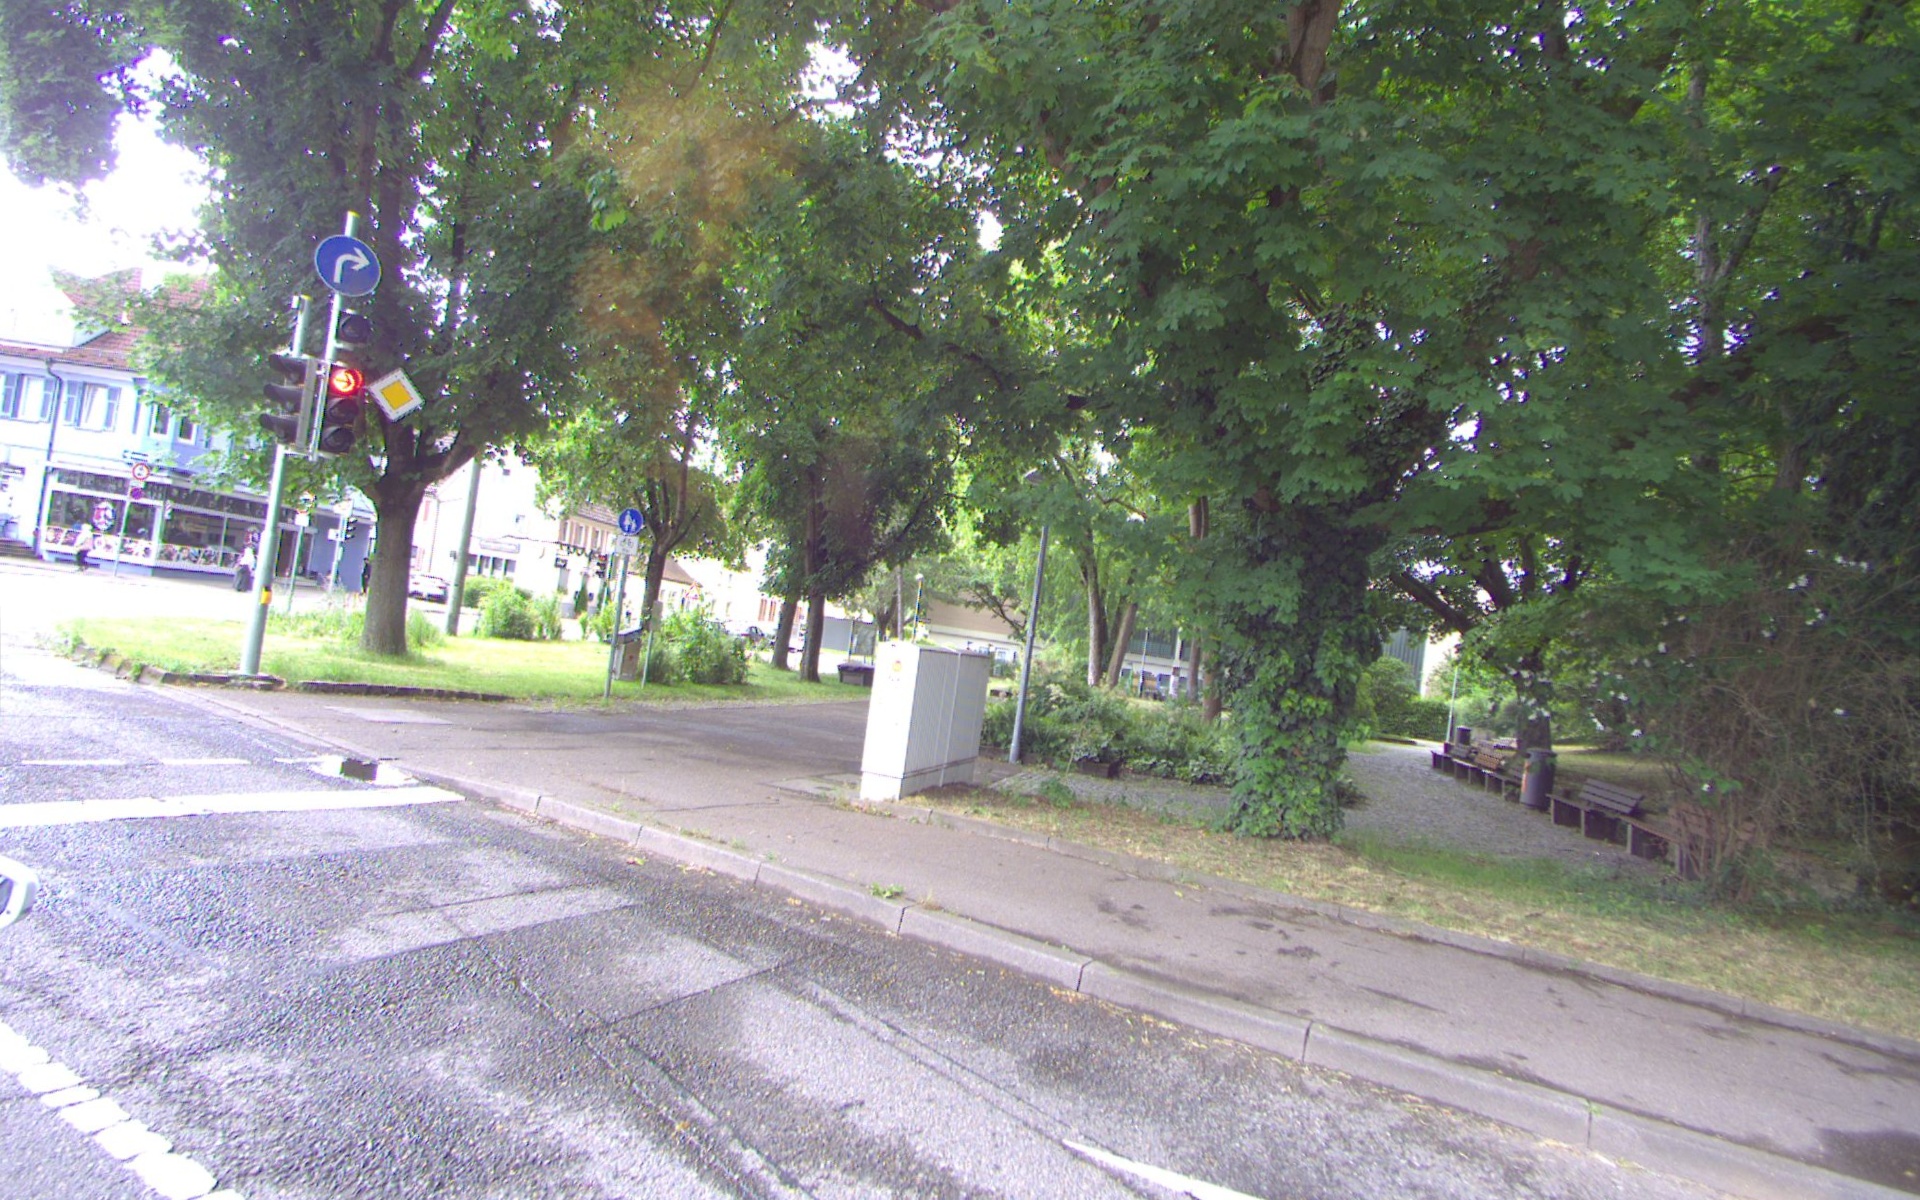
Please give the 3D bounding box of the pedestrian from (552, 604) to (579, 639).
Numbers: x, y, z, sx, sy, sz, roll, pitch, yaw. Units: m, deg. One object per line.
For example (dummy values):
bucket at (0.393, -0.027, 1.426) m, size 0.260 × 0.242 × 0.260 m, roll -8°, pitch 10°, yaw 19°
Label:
pedestrian at (-12.999, 0.711, 33.115) m, size 0.506 × 1.093 × 0.507 m, roll 6°, pitch -1°, yaw 17°

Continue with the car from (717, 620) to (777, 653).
car at (-11.560, 2.016, 54.930) m, size 1.618 × 1.474 × 3.740 m, roll 7°, pitch -2°, yaw 13°

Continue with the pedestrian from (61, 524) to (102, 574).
pedestrian at (-29.647, -1.717, 33.963) m, size 0.725 × 1.578 × 0.763 m, roll 7°, pitch -1°, yaw -27°

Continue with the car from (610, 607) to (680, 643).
car at (-13.757, 1.136, 44.081) m, size 1.436 × 1.282 × 3.014 m, roll 7°, pitch -2°, yaw 13°

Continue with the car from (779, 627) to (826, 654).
car at (-10.272, 2.657, 66.035) m, size 1.618 × 1.474 × 3.740 m, roll 7°, pitch -2°, yaw 13°

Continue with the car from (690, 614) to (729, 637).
car at (-18.970, 1.969, 76.375) m, size 1.736 × 1.463 × 3.865 m, roll 7°, pitch -2°, yaw 2°

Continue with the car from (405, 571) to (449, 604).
car at (-28.172, -0.689, 53.157) m, size 1.870 × 1.406 × 3.589 m, roll 9°, pitch -2°, yaw -28°

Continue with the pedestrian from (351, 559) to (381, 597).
pedestrian at (-26.789, -0.975, 45.348) m, size 0.732 × 1.578 × 0.673 m, roll 6°, pitch -1°, yaw 17°

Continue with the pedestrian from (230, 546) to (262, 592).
pedestrian at (-25.696, -1.115, 36.231) m, size 0.688 × 1.578 × 0.662 m, roll 7°, pitch -1°, yaw -27°

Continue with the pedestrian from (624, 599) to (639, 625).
pedestrian at (-21.179, 0.765, 64.853) m, size 0.500 × 1.578 × 0.505 m, roll 6°, pitch -1°, yaw 17°

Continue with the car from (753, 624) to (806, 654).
car at (-10.698, 2.340, 59.903) m, size 1.618 × 1.474 × 3.740 m, roll 7°, pitch -2°, yaw 13°
